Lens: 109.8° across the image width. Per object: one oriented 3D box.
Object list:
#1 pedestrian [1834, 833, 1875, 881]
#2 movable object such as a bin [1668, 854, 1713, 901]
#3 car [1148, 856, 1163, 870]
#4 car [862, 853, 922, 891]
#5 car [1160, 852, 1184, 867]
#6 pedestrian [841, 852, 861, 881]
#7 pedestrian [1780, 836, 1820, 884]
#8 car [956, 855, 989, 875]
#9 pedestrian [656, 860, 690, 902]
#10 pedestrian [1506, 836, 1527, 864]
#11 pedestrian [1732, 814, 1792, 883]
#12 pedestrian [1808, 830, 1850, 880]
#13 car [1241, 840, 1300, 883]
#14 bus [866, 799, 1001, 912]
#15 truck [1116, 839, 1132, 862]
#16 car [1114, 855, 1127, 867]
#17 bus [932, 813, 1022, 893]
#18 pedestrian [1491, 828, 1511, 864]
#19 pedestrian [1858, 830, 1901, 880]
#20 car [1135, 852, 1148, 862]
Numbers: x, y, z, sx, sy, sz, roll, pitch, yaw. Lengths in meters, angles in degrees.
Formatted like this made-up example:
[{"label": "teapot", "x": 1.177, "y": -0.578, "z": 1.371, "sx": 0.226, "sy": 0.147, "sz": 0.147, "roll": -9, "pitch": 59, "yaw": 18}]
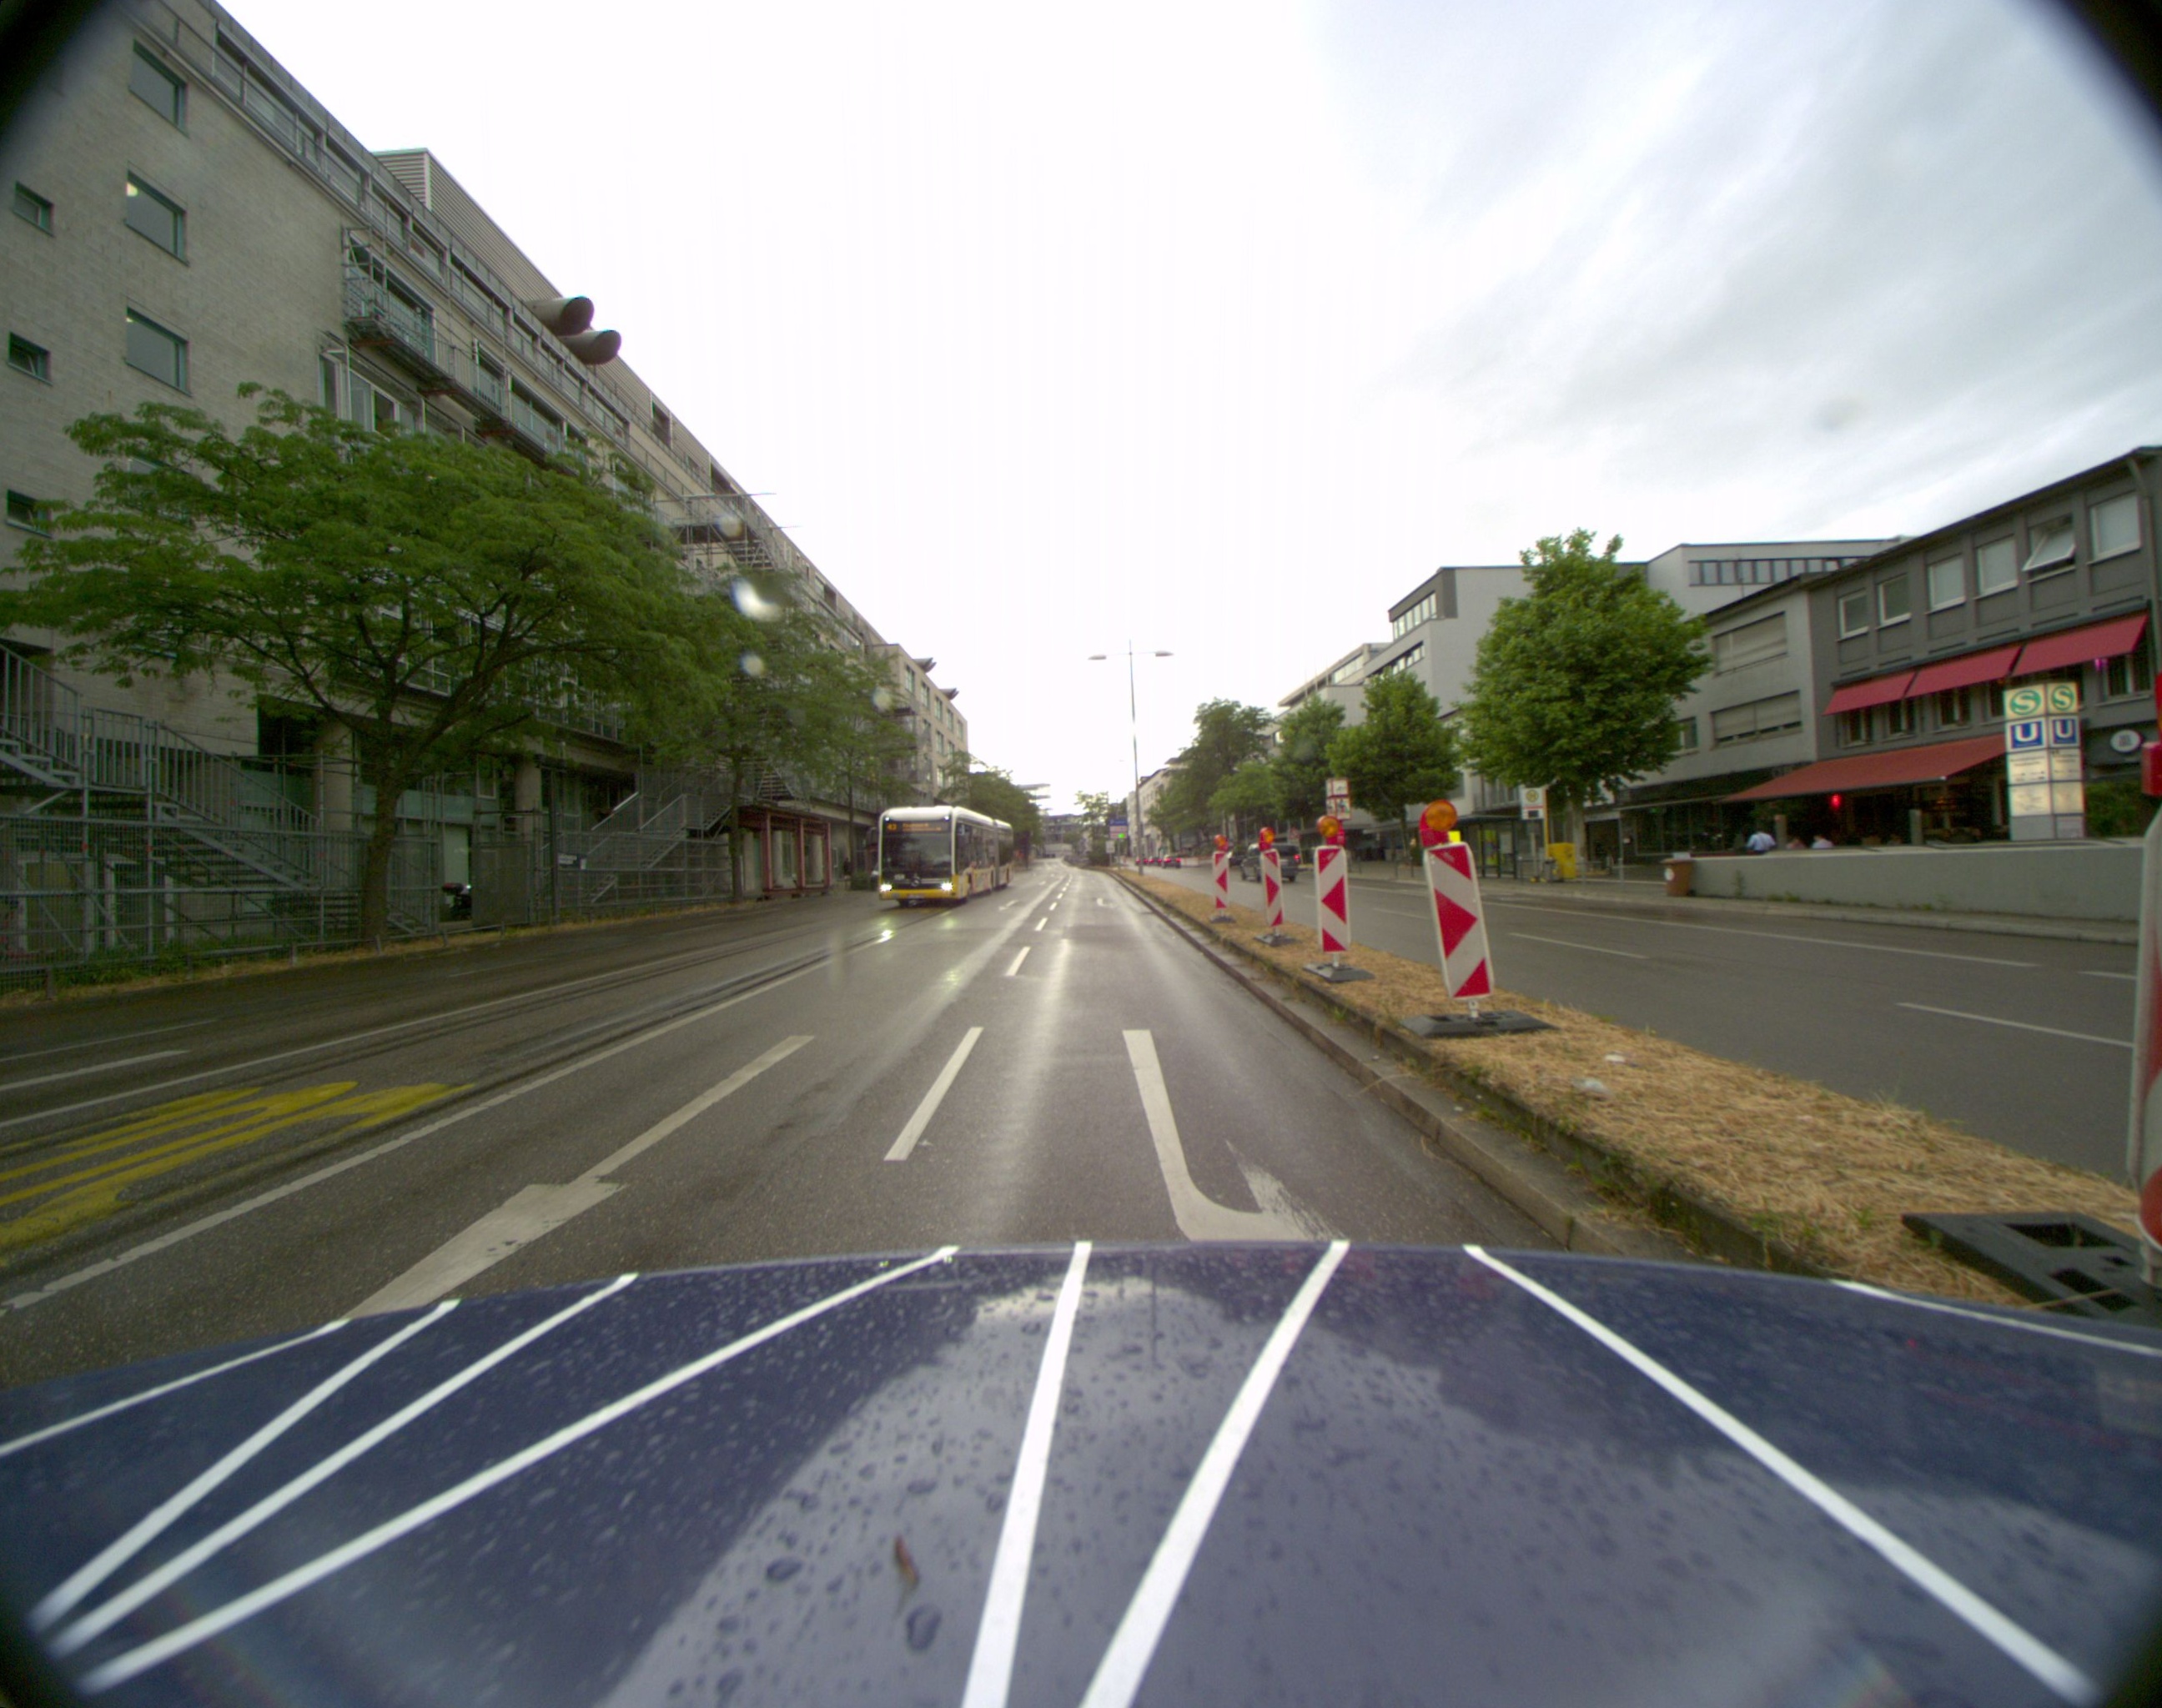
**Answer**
[{"label": "pedestrian", "x": 25.008, "y": 0.104, "z": 24.577, "sx": 0.669, "sy": 1.520, "sz": 0.611, "roll": -2, "pitch": 1, "yaw": 4}, {"label": "movable object such as a bin", "x": 14.563, "y": 0.552, "z": 18.169, "sx": 0.507, "sy": 1.094, "sz": 0.660, "roll": -2, "pitch": 1, "yaw": -2}, {"label": "car", "x": 10.633, "y": 1.307, "z": 108.687, "sx": 1.691, "sy": 1.420, "sz": 4.220, "roll": -2, "pitch": -8, "yaw": 0}, {"label": "car", "x": -10.526, "y": 0.940, "z": 42.657, "sx": 2.213, "sy": 1.895, "sz": 4.329, "roll": -2, "pitch": 1, "yaw": 0}, {"label": "car", "x": 9.509, "y": 0.560, "z": 79.934, "sx": 1.692, "sy": 1.501, "sz": 4.290, "roll": 1, "pitch": -1, "yaw": -4}, {"label": "pedestrian", "x": -16.078, "y": 0.879, "z": 53.153, "sx": 1.009, "sy": 2.002, "sz": 1.039, "roll": -2, "pitch": 1, "yaw": 1}, {"label": "pedestrian", "x": 23.328, "y": 0.188, "z": 24.661, "sx": 0.669, "sy": 1.520, "sz": 0.611, "roll": -2, "pitch": 1, "yaw": 3}, {"label": "car", "x": -9.463, "y": 0.934, "z": 66.690, "sx": 2.147, "sy": 1.552, "sz": 4.816, "roll": -2, "pitch": 1, "yaw": 1}, {"label": "pedestrian", "x": -18.192, "y": 1.184, "z": 33.911, "sx": 1.010, "sy": 1.789, "sz": 0.845, "roll": -2, "pitch": 1, "yaw": -3}, {"label": "pedestrian", "x": 24.904, "y": -0.224, "z": 43.482, "sx": 0.774, "sy": 1.556, "sz": 0.767, "roll": -2, "pitch": 1, "yaw": 8}, {"label": "pedestrian", "x": 20.397, "y": -0.166, "z": 22.764, "sx": 0.922, "sy": 2.002, "sz": 0.944, "roll": -2, "pitch": 1, "yaw": 0}, {"label": "pedestrian", "x": 23.336, "y": 0.042, "z": 23.706, "sx": 0.669, "sy": 1.520, "sz": 0.611, "roll": -2, "pitch": 1, "yaw": 3}, {"label": "car", "x": 9.412, "y": 0.285, "z": 38.087, "sx": 1.998, "sy": 1.916, "sz": 4.965, "roll": -2, "pitch": 1, "yaw": 4}, {"label": "bus", "x": -5.110, "y": -0.001, "z": 28.539, "sx": 2.890, "sy": 3.430, "sz": 9.756, "roll": -2, "pitch": 1, "yaw": 1}, {"label": "truck", "x": 7.106, "y": -0.561, "z": 127.115, "sx": 1.999, "sy": 3.557, "sz": 7.572, "roll": -2, "pitch": 0, "yaw": -2}, {"label": "car", "x": 7.059, "y": 1.283, "z": 136.667, "sx": 1.999, "sy": 2.002, "sz": 3.999, "roll": -2, "pitch": 1, "yaw": -2}, {"label": "bus", "x": -4.956, "y": -0.110, "z": 38.267, "sx": 2.890, "sy": 3.420, "sz": 9.709, "roll": -2, "pitch": 1, "yaw": 1}, {"label": "pedestrian", "x": 24.025, "y": -0.477, "z": 43.477, "sx": 0.774, "sy": 2.002, "sz": 0.767, "roll": -2, "pitch": 1, "yaw": 8}, {"label": "pedestrian", "x": 24.993, "y": 0.036, "z": 23.792, "sx": 0.669, "sy": 1.520, "sz": 0.611, "roll": -2, "pitch": 1, "yaw": 3}, {"label": "car", "x": 10.115, "y": 0.474, "z": 127.969, "sx": 1.692, "sy": 1.545, "sz": 4.419, "roll": -2, "pitch": 1, "yaw": -2}]
